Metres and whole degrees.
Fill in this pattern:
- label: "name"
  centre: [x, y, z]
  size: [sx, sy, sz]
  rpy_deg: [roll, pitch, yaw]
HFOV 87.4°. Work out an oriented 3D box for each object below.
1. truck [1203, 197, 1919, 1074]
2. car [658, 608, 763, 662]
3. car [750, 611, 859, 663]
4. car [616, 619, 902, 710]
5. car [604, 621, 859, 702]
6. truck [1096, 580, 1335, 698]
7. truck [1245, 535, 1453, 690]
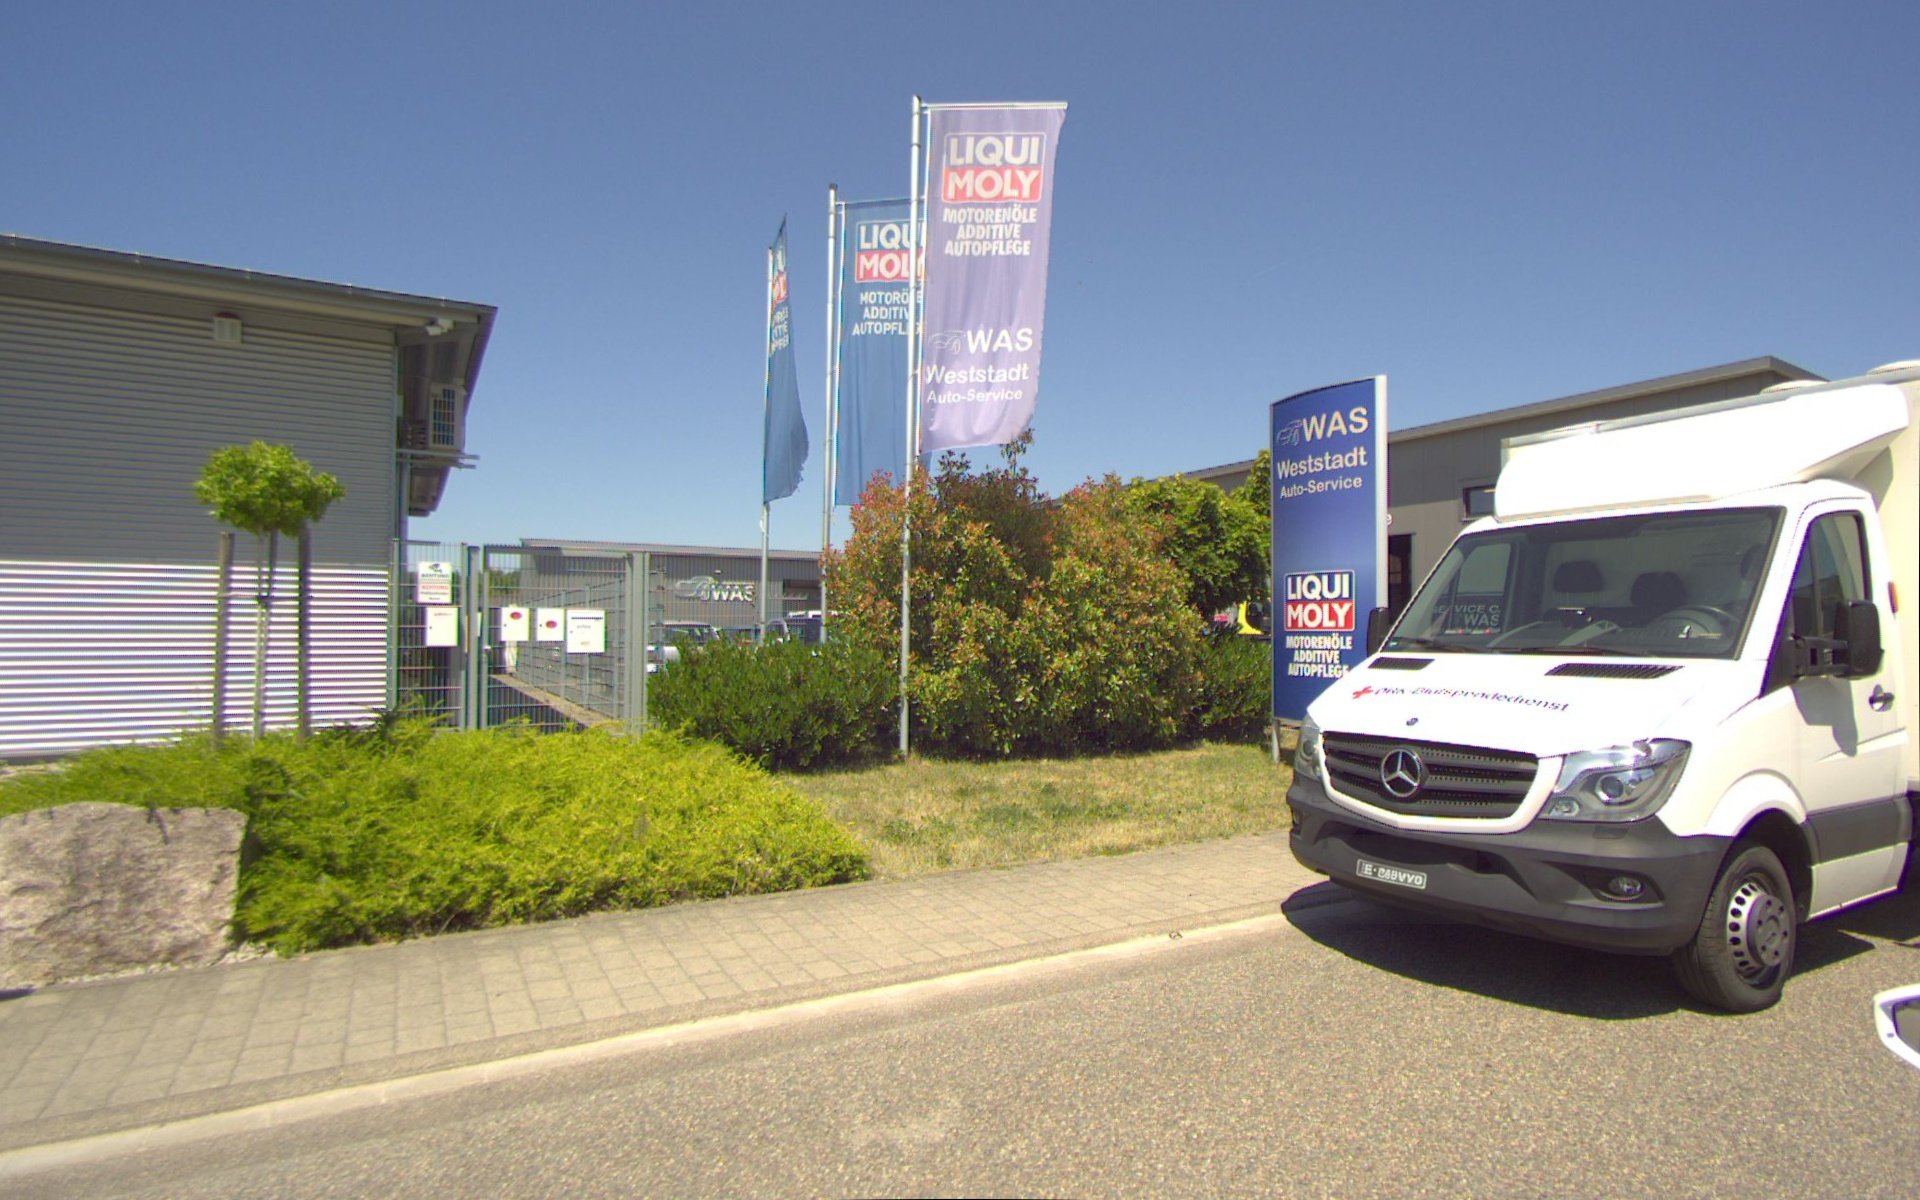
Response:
- label: "truck"
  centre: [4.643, 0.245, 5.922]
  size: [6.338, 2.897, 2.352]
  rpy_deg: [2, -4, -30]
- label: "car"
  centre: [-7.572, 0.995, 30.140]
  size: [1.914, 1.435, 4.733]
  rpy_deg: [2, -1, -29]
- label: "car"
  centre: [-5.030, 1.127, 31.862]
  size: [1.914, 1.435, 4.733]
  rpy_deg: [2, -1, -29]
- label: "car"
  centre: [-3.591, 1.112, 18.187]
  size: [4.713, 1.435, 1.922]
  rpy_deg: [2, -1, -30]
- label: "car"
  centre: [-4.605, 1.207, 20.428]
  size: [4.713, 1.435, 1.922]
  rpy_deg: [2, -1, -30]
- label: "truck"
  centre: [5.955, 0.863, 24.367]
  size: [2.140, 2.494, 5.927]
  rpy_deg: [1, -1, -29]
- label: "truck"
  centre: [10.273, 0.348, 27.625]
  size: [2.535, 3.604, 8.064]
  rpy_deg: [1, -1, 0]
